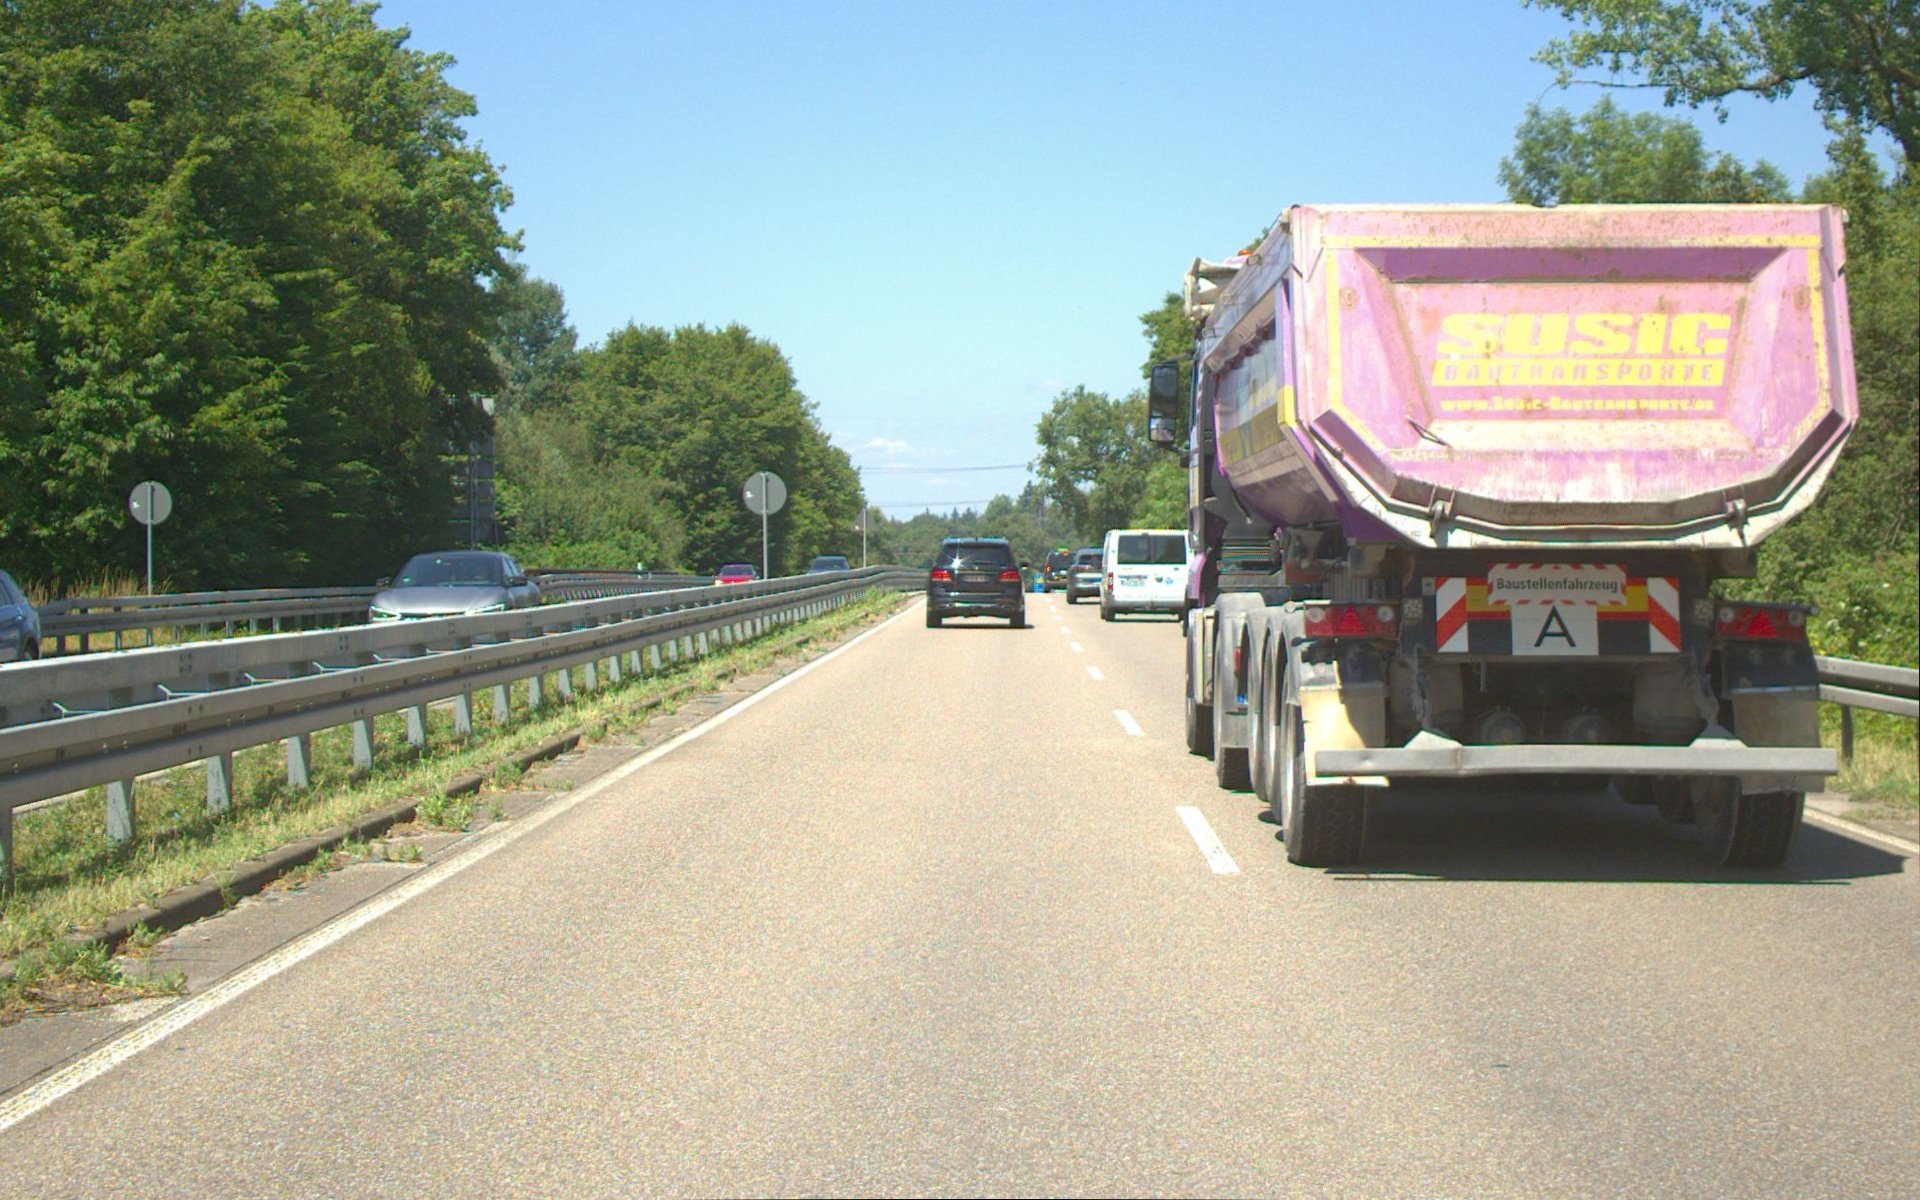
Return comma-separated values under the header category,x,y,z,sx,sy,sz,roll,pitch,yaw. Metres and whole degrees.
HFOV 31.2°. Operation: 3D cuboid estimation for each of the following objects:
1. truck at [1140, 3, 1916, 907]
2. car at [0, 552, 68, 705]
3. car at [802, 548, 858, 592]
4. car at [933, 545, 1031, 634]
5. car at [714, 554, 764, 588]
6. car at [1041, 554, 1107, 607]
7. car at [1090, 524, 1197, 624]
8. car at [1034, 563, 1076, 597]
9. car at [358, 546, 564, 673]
category,x,y,z,sx,sy,sz,roll,pitch,yaw
truck,2.796,-0.717,21.168,2.720,3.917,12.370,0,1,0
car,-10.603,0.309,34.691,1.812,1.537,4.928,-1,1,1
car,-5.485,-1.276,145.367,1.993,1.787,4.748,-1,1,2
car,0.424,-0.187,67.923,1.857,1.666,4.000,1,-1,0
car,-9.256,-1.230,144.236,1.797,1.386,4.000,-1,1,0
car,3.177,-0.549,96.260,1.603,1.415,3.523,-1,1,-1
car,3.960,-0.586,74.752,1.993,2.070,4.000,-1,1,-1
car,4.135,-0.892,149.626,1.603,1.415,3.523,-1,1,-1
car,-6.875,0.089,47.848,1.994,1.626,4.552,-1,1,2
